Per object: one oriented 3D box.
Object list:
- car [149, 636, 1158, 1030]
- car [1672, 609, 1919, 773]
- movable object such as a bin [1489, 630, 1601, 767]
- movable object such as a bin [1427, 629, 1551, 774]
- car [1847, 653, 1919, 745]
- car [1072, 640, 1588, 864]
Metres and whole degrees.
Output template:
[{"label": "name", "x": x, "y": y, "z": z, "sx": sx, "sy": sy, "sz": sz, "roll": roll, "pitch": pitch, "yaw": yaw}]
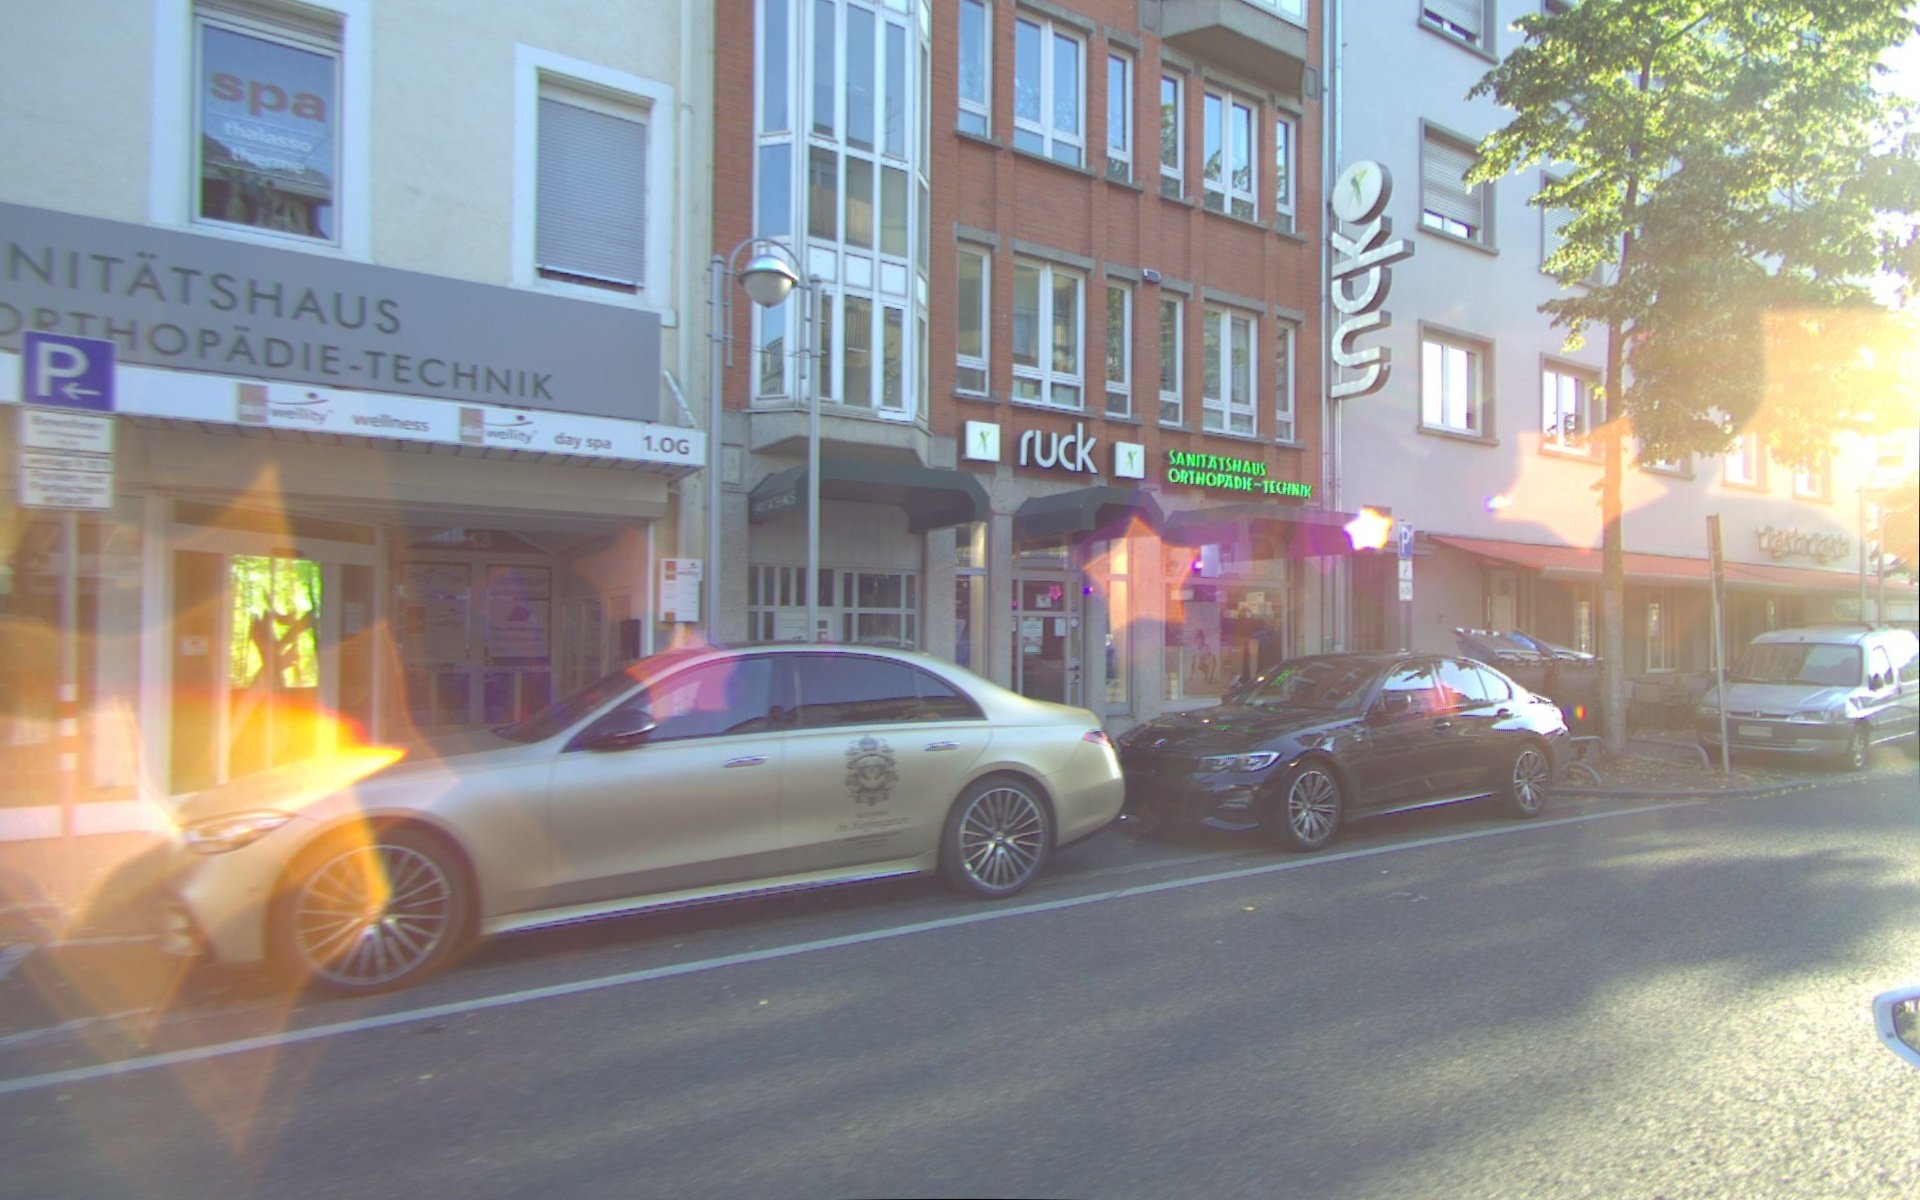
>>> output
[{"label": "car", "x": -1.407, "y": 1.005, "z": 5.998, "sx": 5.048, "sy": 1.491, "sz": 1.984, "roll": 1, "pitch": -4, "yaw": -31}, {"label": "car", "x": 11.458, "y": 1.172, "z": 13.546, "sx": 4.011, "sy": 1.912, "sz": 1.659, "roll": 2, "pitch": -4, "yaw": -34}, {"label": "movable object such as a bin", "x": 7.544, "y": 1.230, "z": 12.956, "sx": 1.196, "sy": 1.641, "sz": 0.776, "roll": 2, "pitch": 0, "yaw": -34}, {"label": "movable object such as a bin", "x": 6.458, "y": 1.191, "z": 12.253, "sx": 1.323, "sy": 1.641, "sz": 0.776, "roll": 2, "pitch": 0, "yaw": -34}, {"label": "car", "x": 16.657, "y": 1.606, "z": 16.662, "sx": 4.232, "sy": 1.434, "sz": 1.714, "roll": 2, "pitch": -4, "yaw": -31}, {"label": "car", "x": 3.274, "y": 1.119, "z": 8.629, "sx": 4.489, "sy": 1.491, "sz": 1.713, "roll": 1, "pitch": -4, "yaw": -31}]
